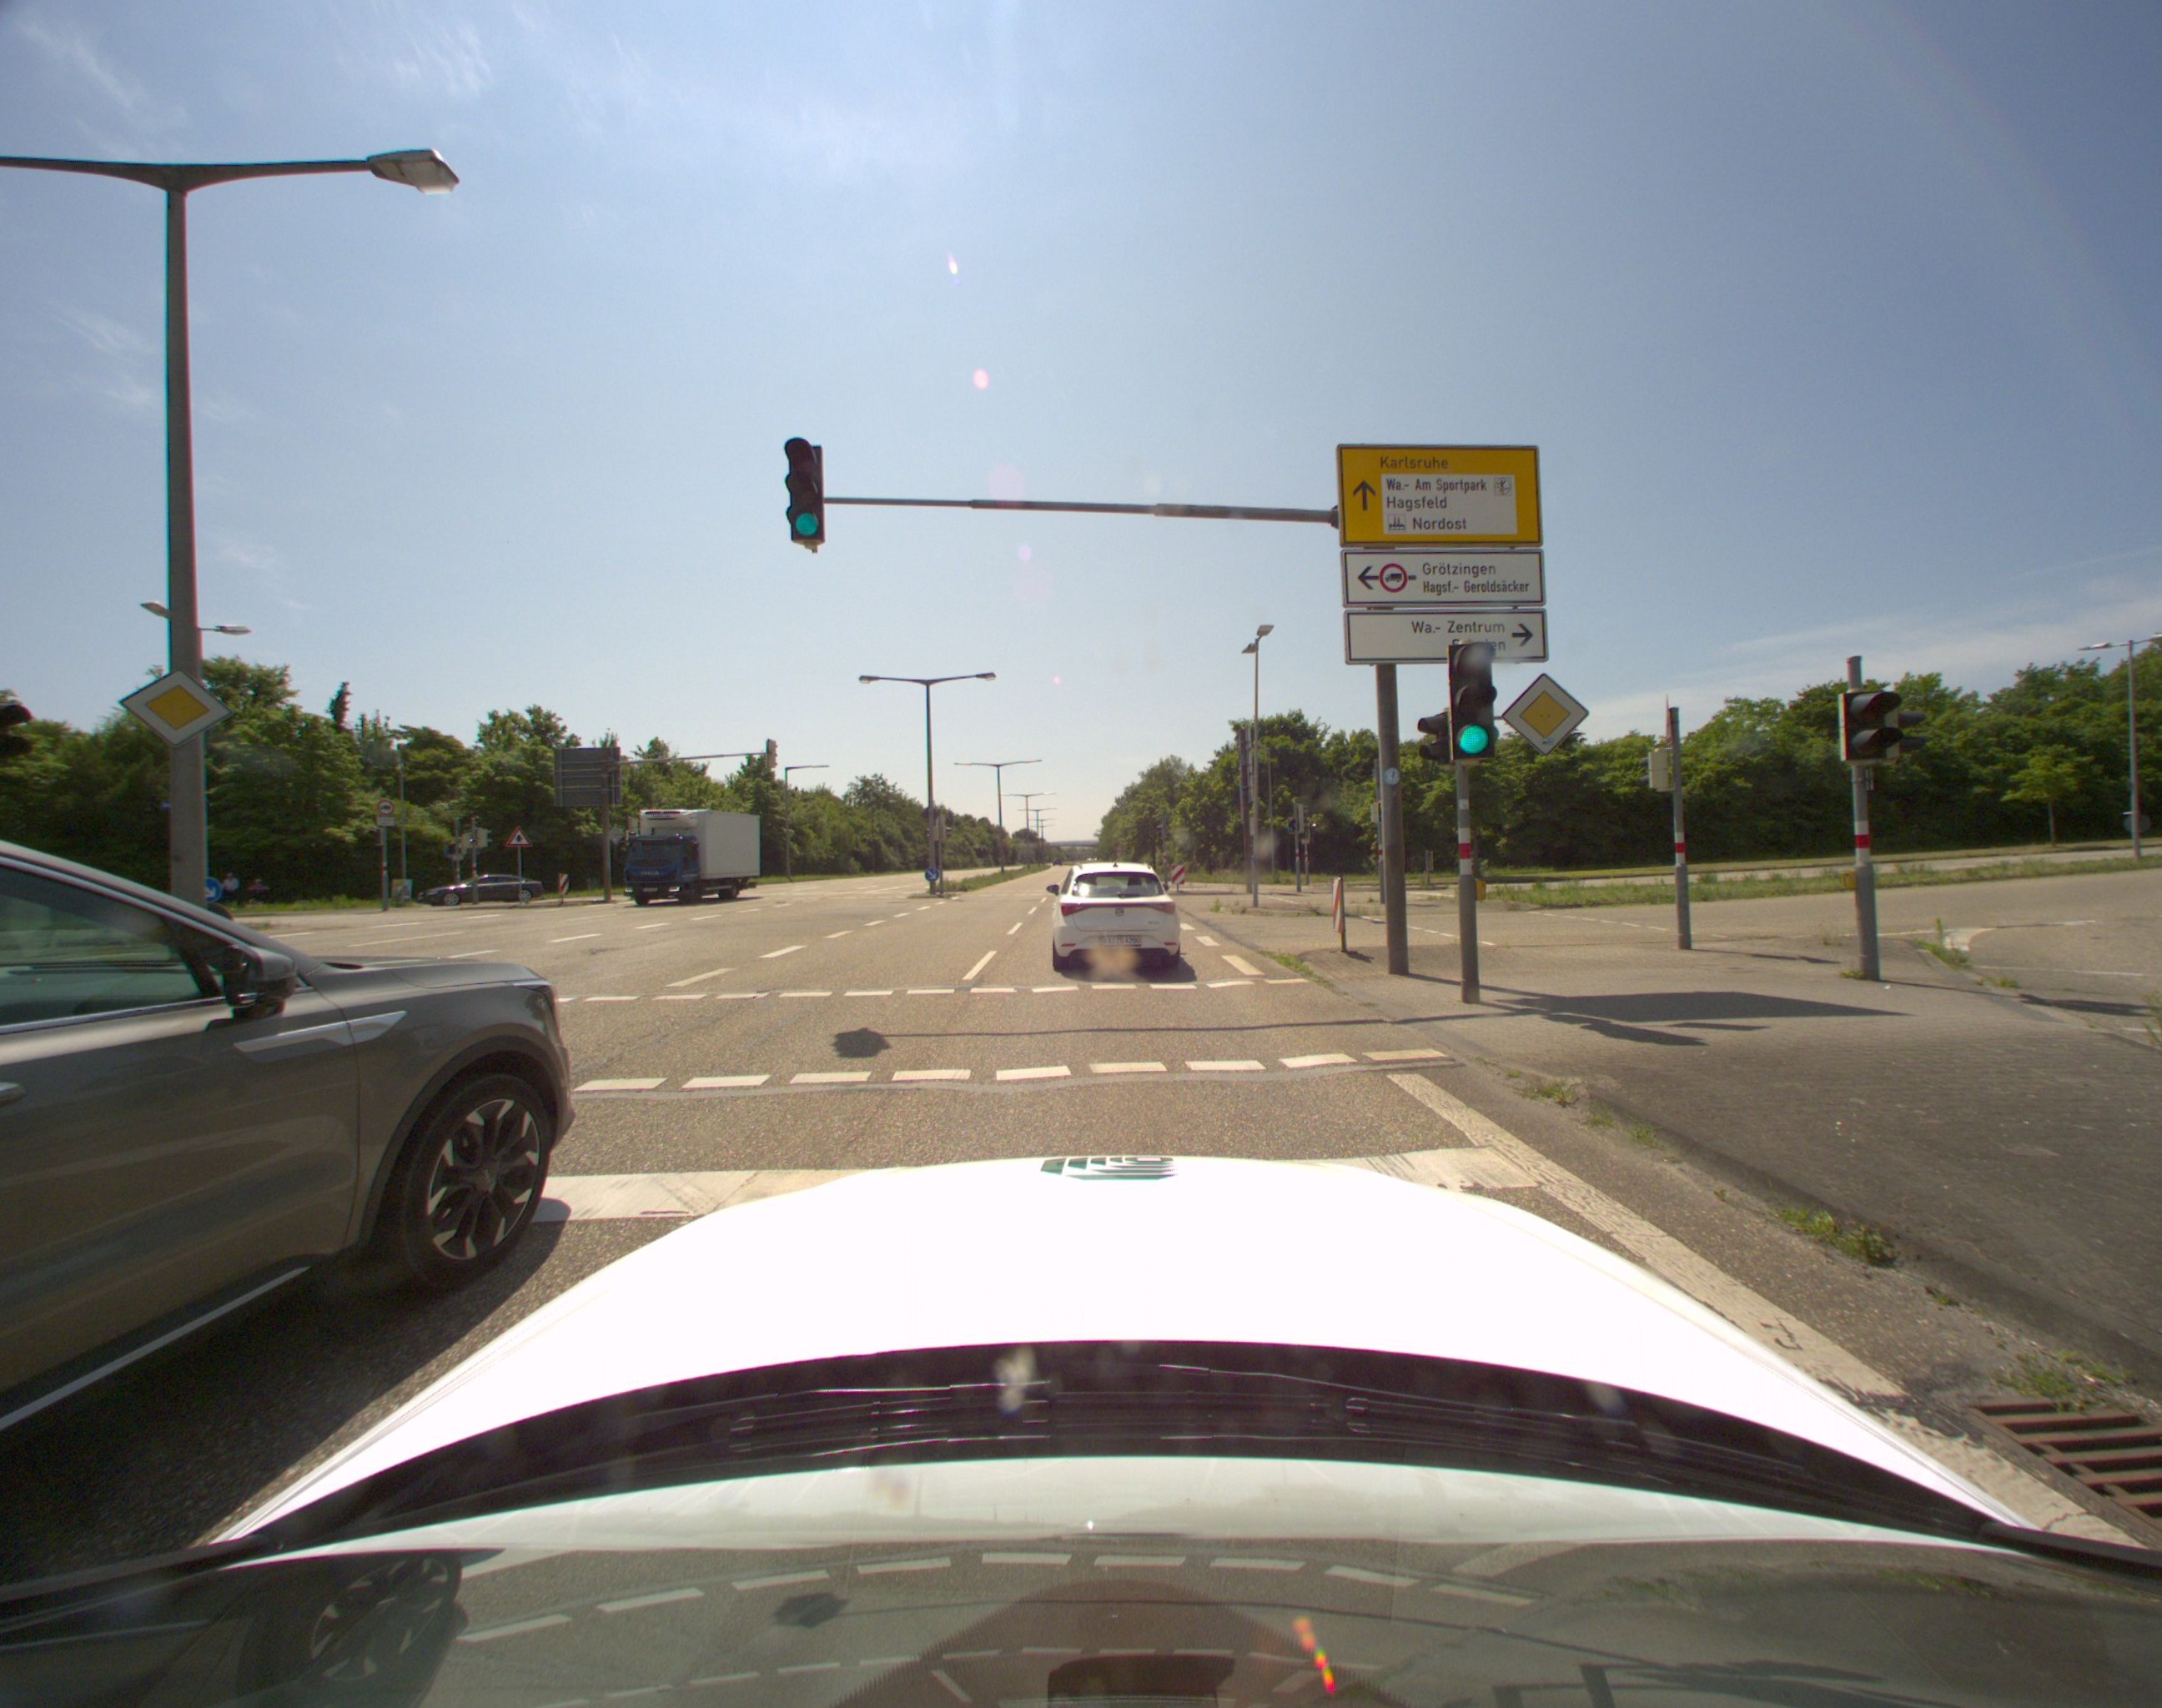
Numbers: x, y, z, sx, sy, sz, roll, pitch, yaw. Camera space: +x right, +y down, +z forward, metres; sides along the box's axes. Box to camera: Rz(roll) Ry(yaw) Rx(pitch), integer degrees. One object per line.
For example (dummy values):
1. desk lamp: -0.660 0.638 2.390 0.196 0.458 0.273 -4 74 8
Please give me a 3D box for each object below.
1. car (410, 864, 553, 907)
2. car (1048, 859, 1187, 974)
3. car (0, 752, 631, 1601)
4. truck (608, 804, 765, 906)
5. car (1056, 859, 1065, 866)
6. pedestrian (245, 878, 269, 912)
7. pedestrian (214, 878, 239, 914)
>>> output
1. car: -27.408 1.406 37.439 1.805 1.732 4.957 -2 0 33
2. car: 0.481 0.814 12.041 1.728 1.428 3.694 0 -1 1
3. car: -3.031 0.648 1.458 1.798 1.662 4.644 -1 -1 1
4. truck: -15.445 0.030 32.590 2.678 3.570 7.266 -1 0 0
5. car: -4.998 2.026 197.262 1.847 1.709 4.003 -2 0 2
6. pedestrian: -37.709 1.875 37.277 0.620 1.504 0.790 -1 -1 -35
7. pedestrian: -38.549 1.876 36.734 0.620 1.603 0.790 -1 -1 -35
